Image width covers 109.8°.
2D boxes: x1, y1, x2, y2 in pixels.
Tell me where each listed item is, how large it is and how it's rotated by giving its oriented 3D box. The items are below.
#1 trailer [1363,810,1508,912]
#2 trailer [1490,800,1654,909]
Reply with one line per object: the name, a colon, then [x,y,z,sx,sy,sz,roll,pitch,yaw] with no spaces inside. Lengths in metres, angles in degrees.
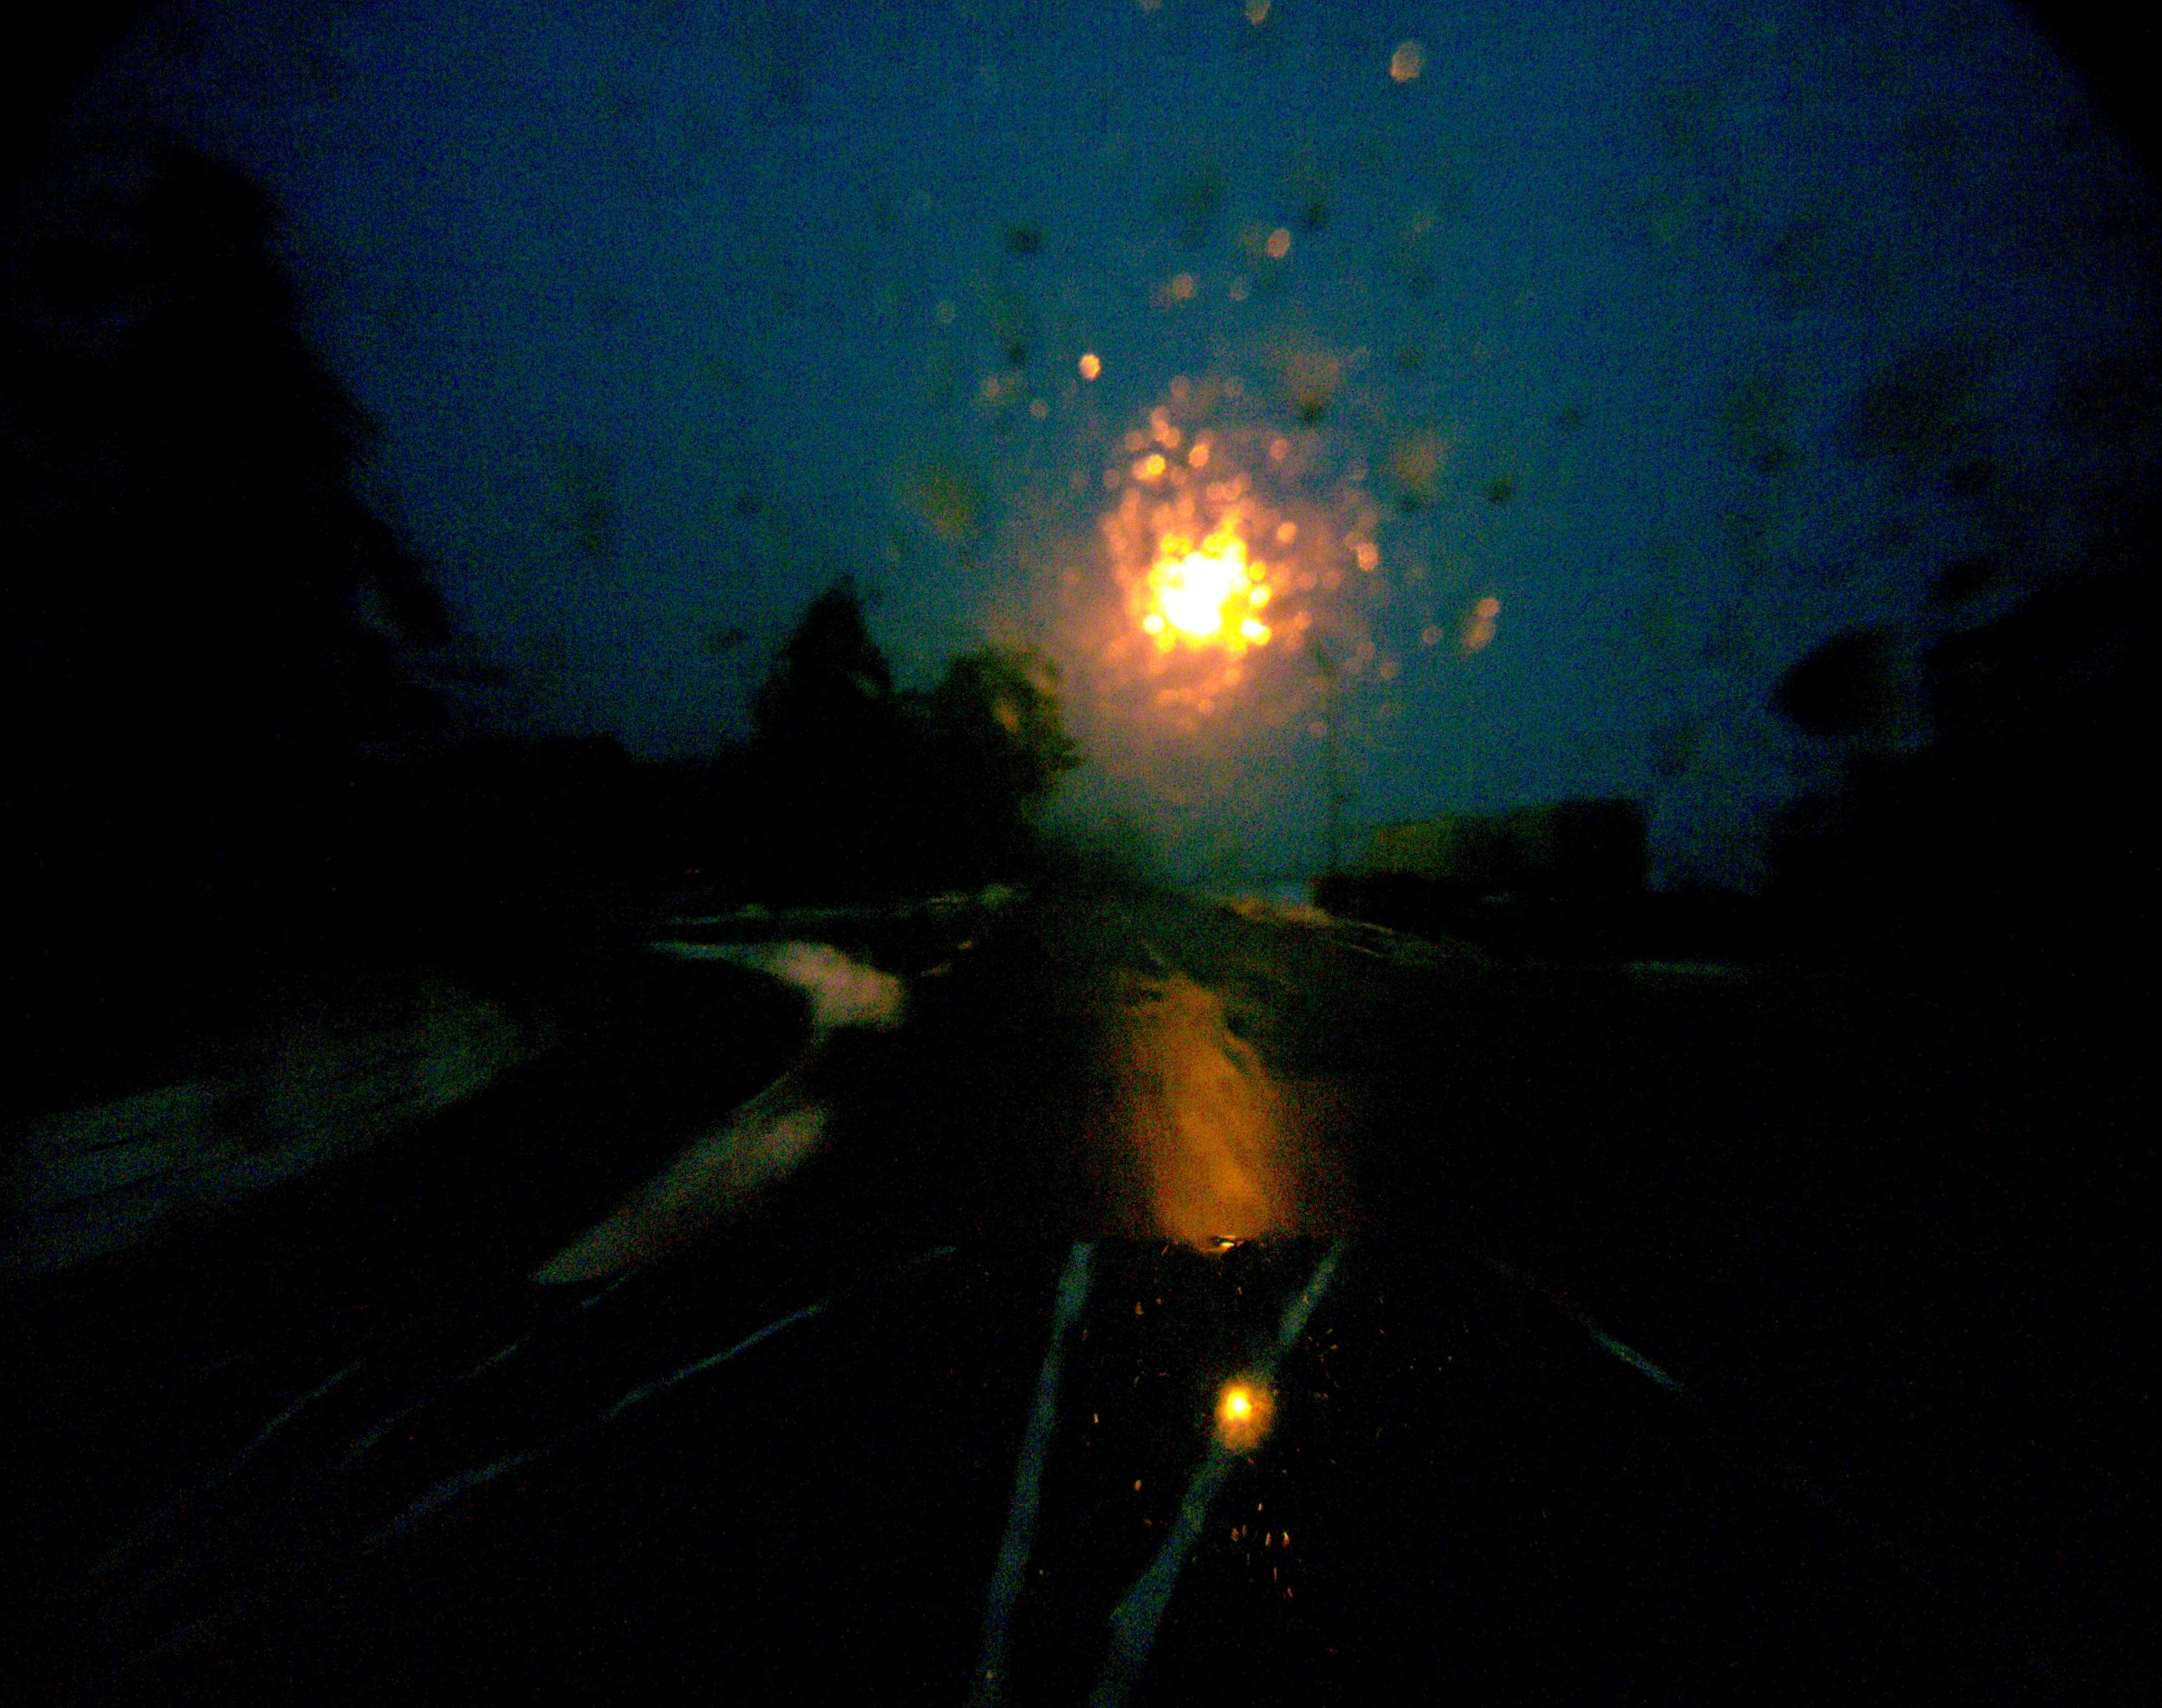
trailer: [9.810,0.227,21.313,1.697,2.589,3.439,2,-1,-20]
trailer: [12.463,0.045,19.633,1.997,2.474,4.013,2,-1,8]
